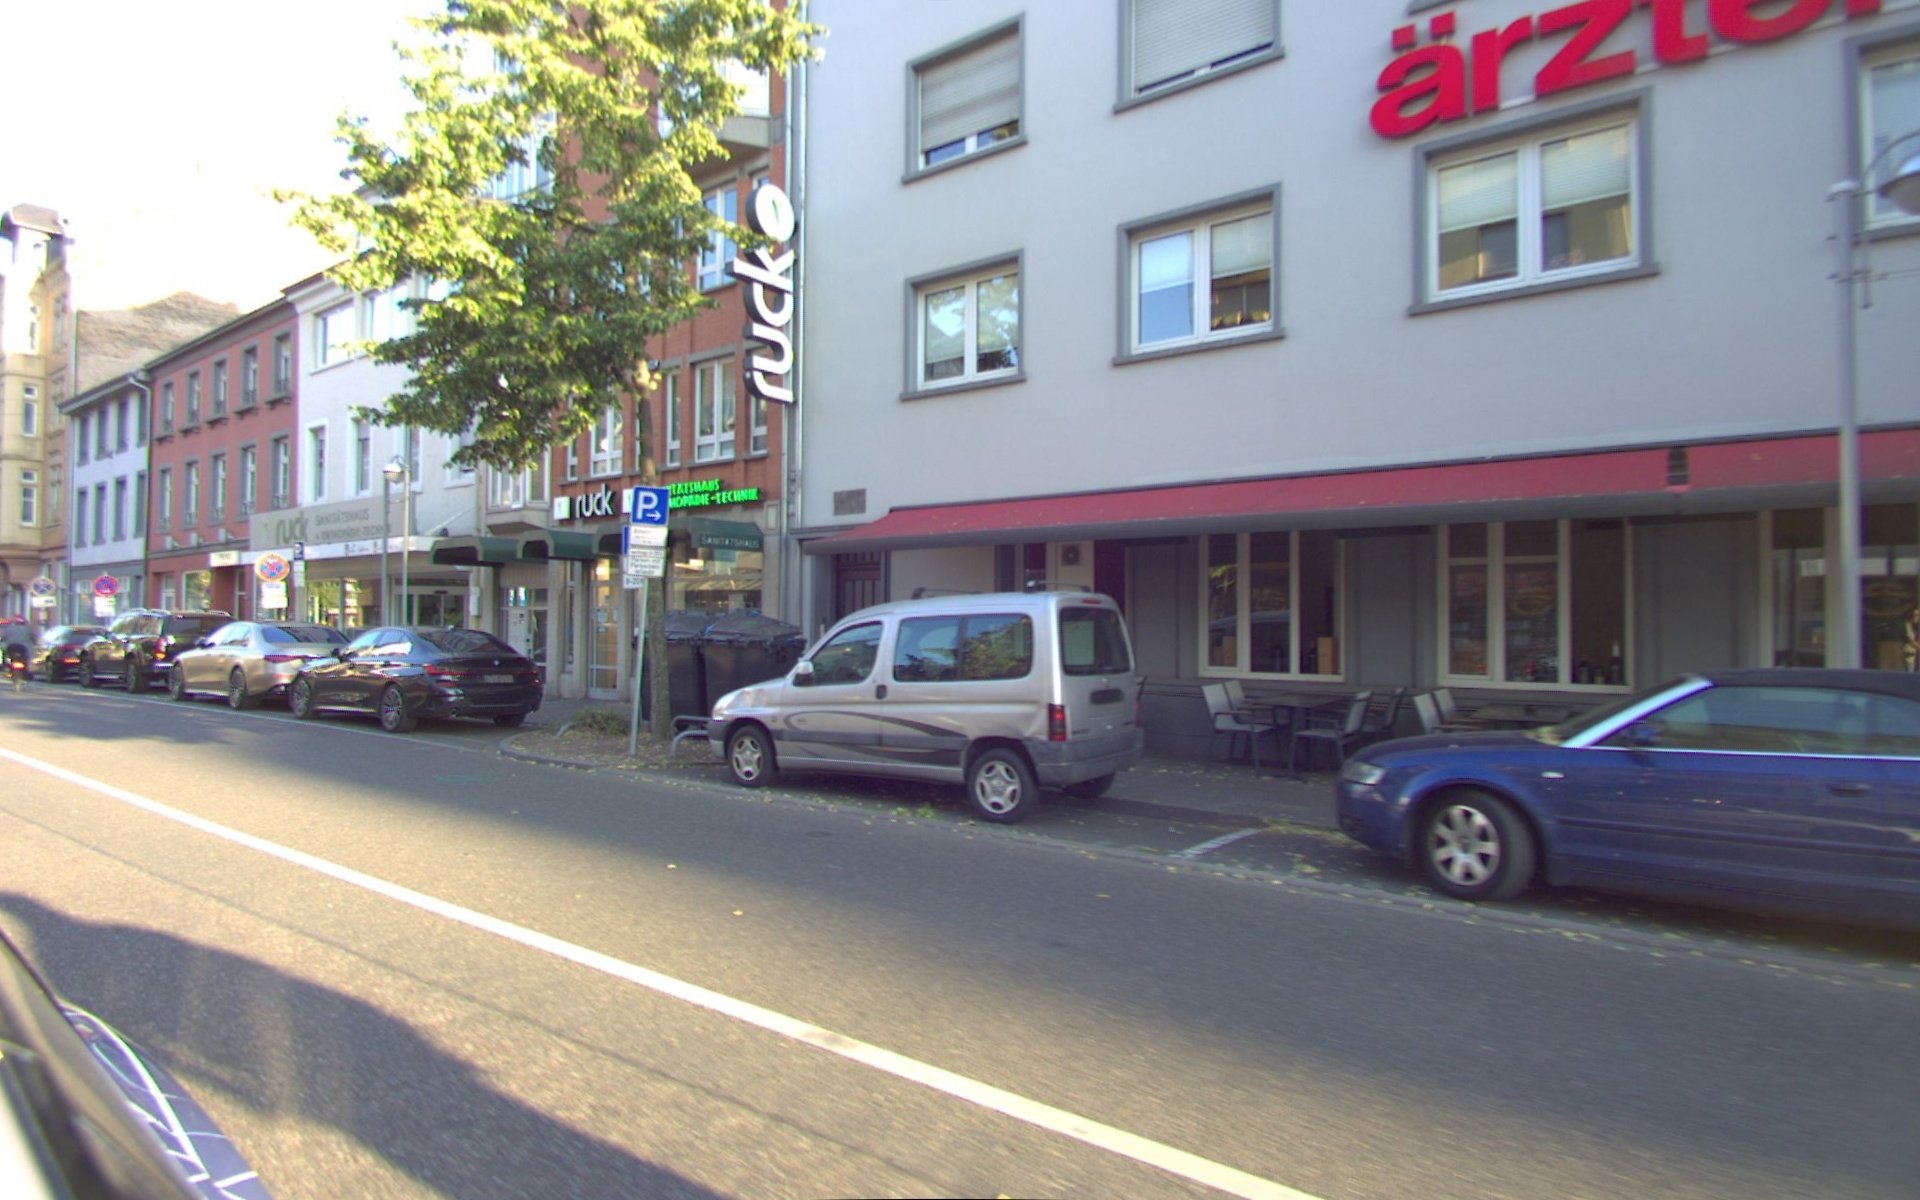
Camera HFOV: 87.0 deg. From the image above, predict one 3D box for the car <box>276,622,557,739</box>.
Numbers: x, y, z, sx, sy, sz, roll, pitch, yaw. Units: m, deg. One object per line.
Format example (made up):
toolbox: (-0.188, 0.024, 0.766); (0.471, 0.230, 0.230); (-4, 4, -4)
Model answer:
car: (-7.916, 1.045, 14.609); (4.407, 1.403, 1.784); (0, -1, 35)

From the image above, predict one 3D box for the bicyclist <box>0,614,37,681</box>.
bicyclist: (-19.126, 0.940, 20.458); (0.659, 1.312, 0.562); (0, 0, 35)

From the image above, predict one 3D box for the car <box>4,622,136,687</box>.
car: (-22.744, 1.341, 25.834); (3.835, 1.536, 1.716); (-1, -2, 36)

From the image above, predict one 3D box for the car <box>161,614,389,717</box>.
car: (-12.356, 1.108, 18.130); (4.936, 1.612, 1.873); (-1, -3, 37)

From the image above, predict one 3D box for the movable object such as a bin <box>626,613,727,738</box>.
movable object such as a bin: (-3.729, 0.957, 13.302); (1.098, 1.547, 0.739); (-1, -1, 36)

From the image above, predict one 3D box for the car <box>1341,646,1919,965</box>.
car: (4.464, 0.967, 5.381); (4.303, 1.363, 1.634); (-1, -2, 36)

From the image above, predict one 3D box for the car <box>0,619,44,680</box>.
car: (-29.745, 1.465, 30.853); (4.132, 1.741, 1.855); (0, -1, 36)

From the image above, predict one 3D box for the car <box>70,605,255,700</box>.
car: (-17.706, 1.118, 22.394); (4.937, 1.898, 1.950); (-2, -2, 36)

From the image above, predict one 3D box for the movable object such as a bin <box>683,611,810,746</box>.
movable object such as a bin: (-2.650, 0.920, 12.504); (1.482, 1.555, 0.744); (0, 0, 36)

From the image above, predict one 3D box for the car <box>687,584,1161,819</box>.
car: (-0.406, 0.718, 9.017); (3.988, 1.676, 1.701); (0, 0, 33)

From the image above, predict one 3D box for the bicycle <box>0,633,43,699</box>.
bicycle: (-19.106, 1.310, 20.476); (1.690, 1.246, 0.416); (0, 0, 34)
